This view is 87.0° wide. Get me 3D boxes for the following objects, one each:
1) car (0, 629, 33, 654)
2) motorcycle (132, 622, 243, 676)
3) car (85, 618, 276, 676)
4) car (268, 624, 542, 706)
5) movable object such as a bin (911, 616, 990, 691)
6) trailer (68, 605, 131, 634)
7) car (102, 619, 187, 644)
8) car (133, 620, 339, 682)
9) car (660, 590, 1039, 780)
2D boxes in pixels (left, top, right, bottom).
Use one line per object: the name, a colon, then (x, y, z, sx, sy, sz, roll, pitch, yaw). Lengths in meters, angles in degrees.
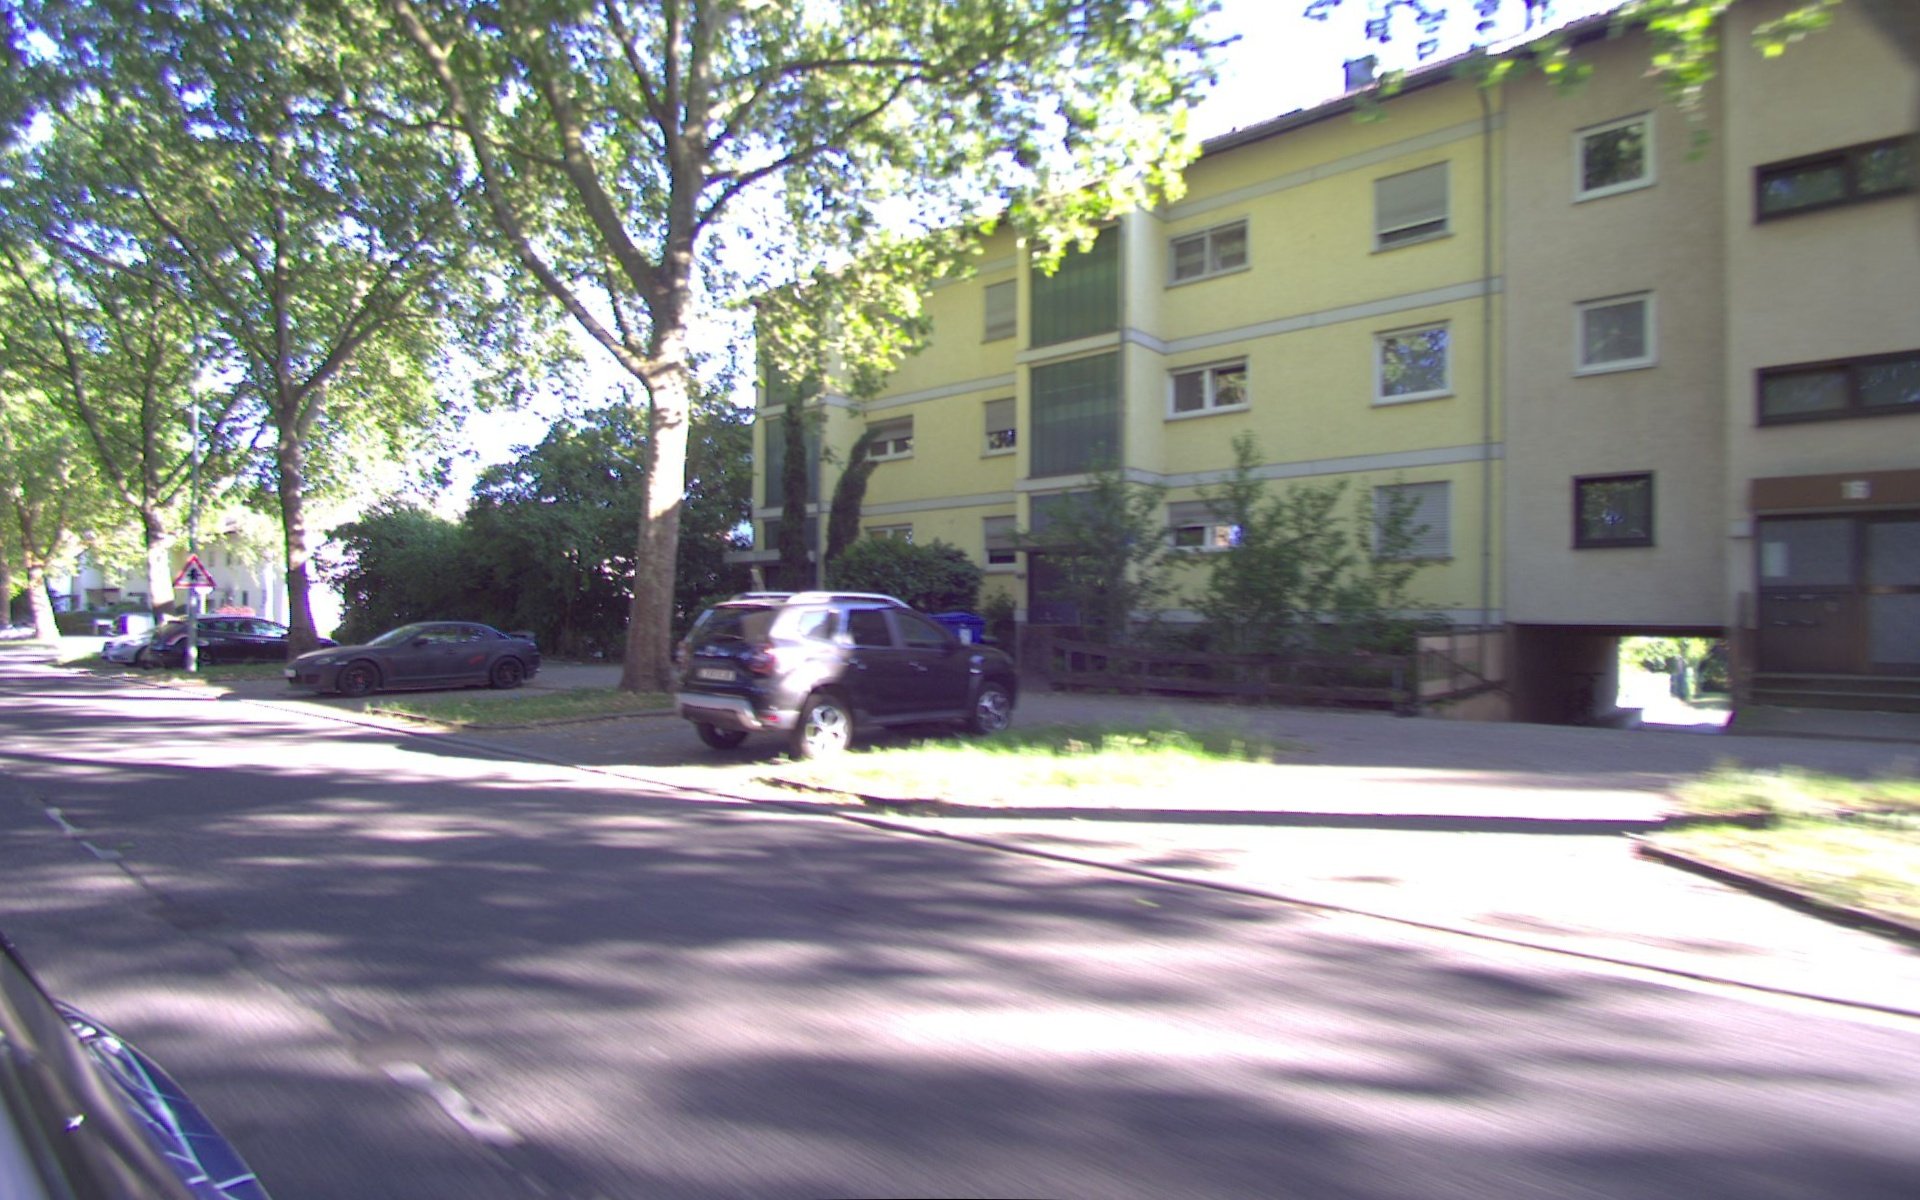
car: (-51.962, 2.199, 53.728, 1.787, 1.326, 3.789, -1, -2, 37)
motorcycle: (-21.296, 1.334, 27.948, 0.647, 1.399, 2.364, -2, -1, 35)
car: (-23.179, 1.332, 30.220, 1.996, 1.596, 4.146, -1, -1, 36)
car: (-10.351, 1.152, 19.142, 1.739, 1.363, 4.199, -1, -2, 39)
movable object such as a bin: (-0.171, 0.988, 19.175, 0.953, 1.360, 1.173, -1, -2, 41)
trailer: (-67.682, 1.532, 79.615, 1.640, 1.940, 3.423, -3, 2, 36)
car: (-52.334, 2.019, 64.995, 1.899, 1.475, 3.948, -3, -1, 39)
car: (-19.154, 1.297, 26.938, 1.799, 1.518, 4.122, -1, -2, 37)
car: (-1.026, 0.797, 11.194, 1.669, 1.693, 4.200, -1, -1, 40)
